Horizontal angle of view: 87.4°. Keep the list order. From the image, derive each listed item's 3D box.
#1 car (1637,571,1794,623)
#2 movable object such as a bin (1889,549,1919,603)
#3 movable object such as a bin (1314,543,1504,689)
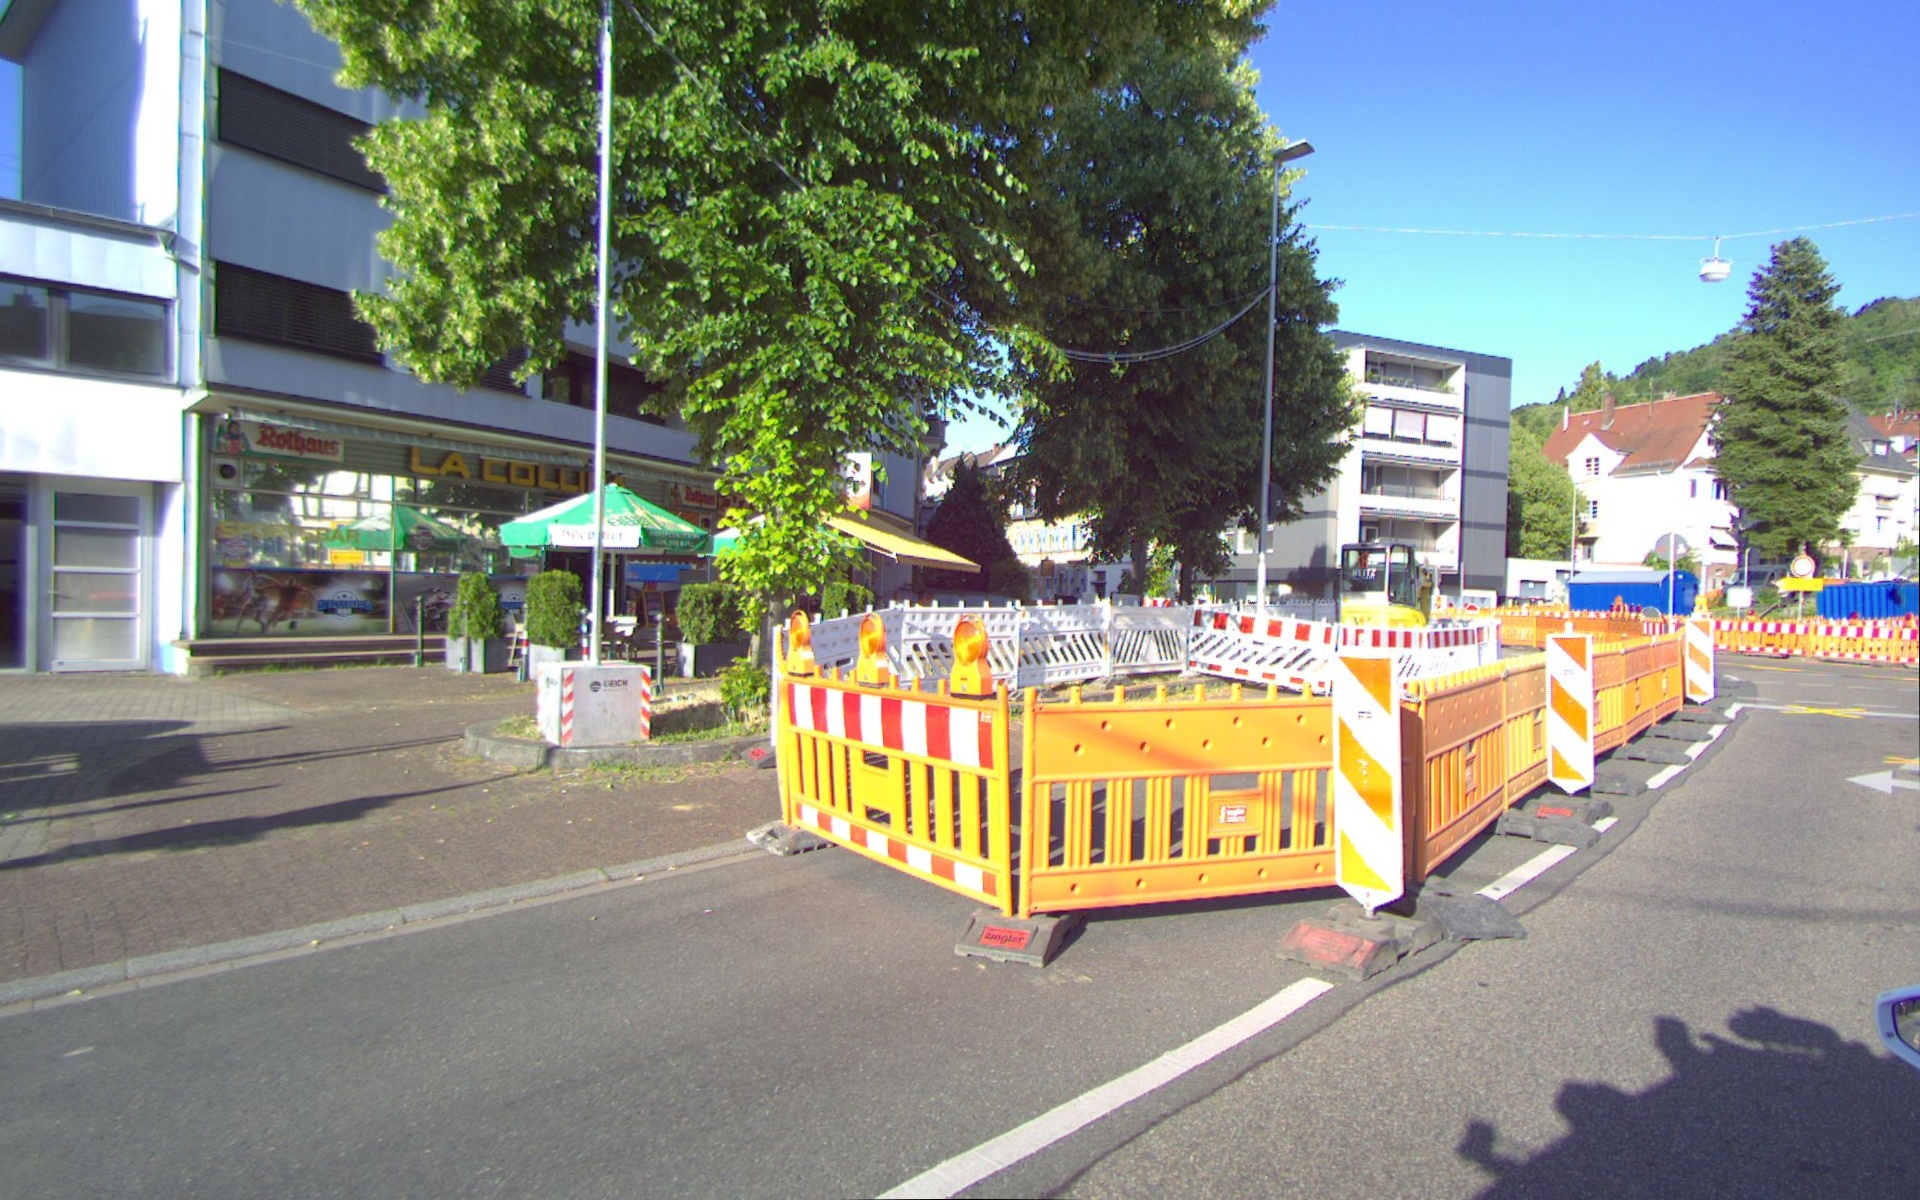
[{"bbox_3d":[33.835,-0.111,45.025,6.052,2.149,2.582,1,0,-17],"label":"car"},{"bbox_3d":[47.102,-1.095,48.004,4.478,2.527,1.948,1,0,-17],"label":"movable object such as a bin"},{"bbox_3d":[8.173,0.264,18.154,3.889,2.356,1.632,0,0,-41],"label":"movable object such as a bin"}]
